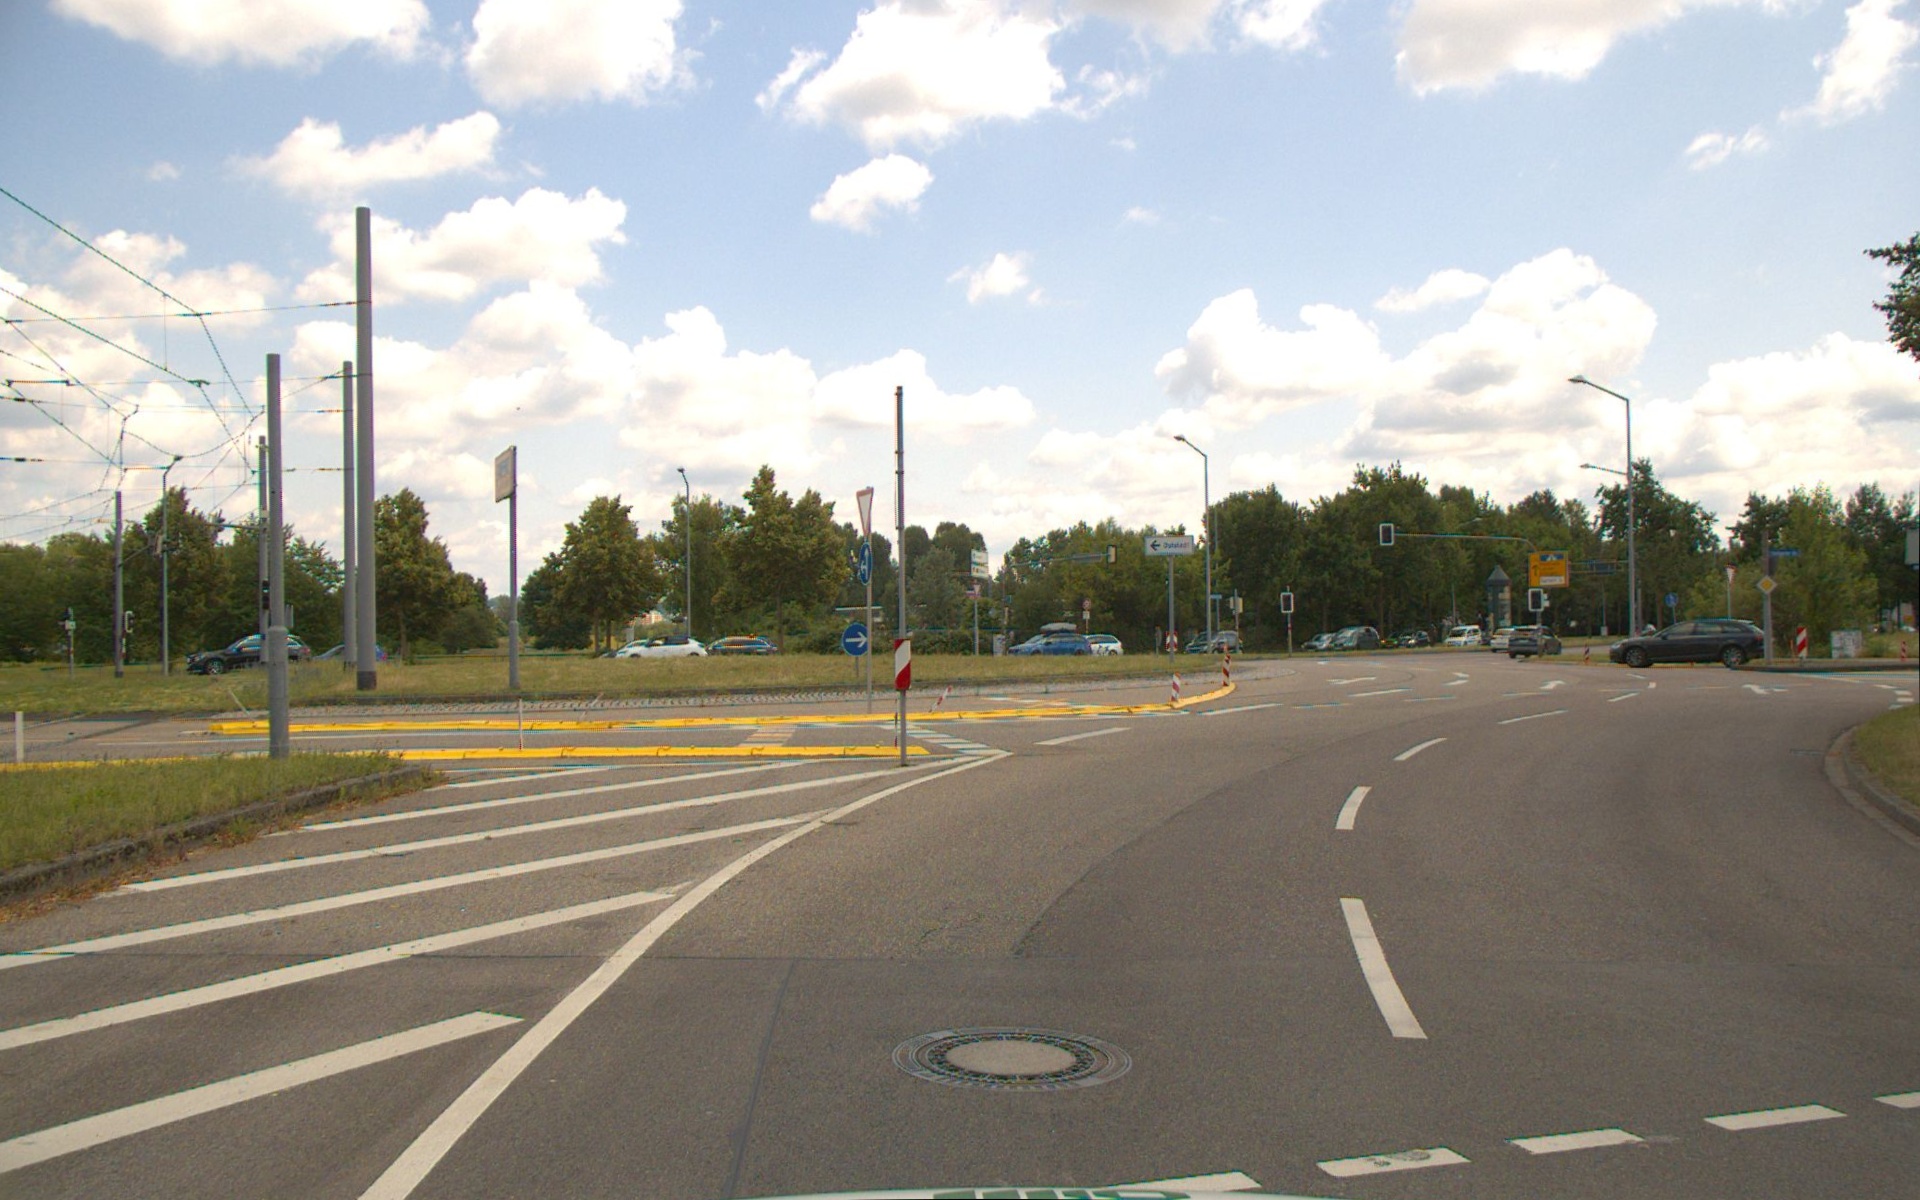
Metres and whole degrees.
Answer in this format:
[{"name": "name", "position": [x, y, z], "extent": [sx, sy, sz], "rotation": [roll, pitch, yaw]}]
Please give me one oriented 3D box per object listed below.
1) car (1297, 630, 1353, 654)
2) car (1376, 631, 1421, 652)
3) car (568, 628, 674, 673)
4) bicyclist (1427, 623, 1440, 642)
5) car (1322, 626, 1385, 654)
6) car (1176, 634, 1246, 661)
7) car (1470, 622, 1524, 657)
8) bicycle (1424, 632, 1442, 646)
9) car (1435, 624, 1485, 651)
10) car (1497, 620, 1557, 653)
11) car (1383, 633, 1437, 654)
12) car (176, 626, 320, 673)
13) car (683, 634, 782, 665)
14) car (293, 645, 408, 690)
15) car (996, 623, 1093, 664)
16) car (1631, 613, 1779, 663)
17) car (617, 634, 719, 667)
[{"name": "car", "position": [22.990, 2.620, 104.157], "extent": [1.874, 1.448, 4.174], "rotation": [-2, -2, 37]}, {"name": "car", "position": [32.003, 3.029, 120.716], "extent": [1.590, 1.372, 4.150], "rotation": [-5, -4, 39]}, {"name": "car", "position": [-16.440, 2.434, 80.241], "extent": [4.659, 2.049, 1.980], "rotation": [-1, -1, -30]}, {"name": "bicyclist", "position": [40.830, 2.791, 142.638], "extent": [0.817, 1.592, 0.879], "rotation": [0, -1, 38]}, {"name": "car", "position": [23.876, 2.403, 100.195], "extent": [1.878, 1.620, 4.567], "rotation": [-2, -2, 40]}, {"name": "car", "position": [14.128, 2.654, 93.083], "extent": [3.947, 1.364, 1.774], "rotation": [-1, -3, -43]}, {"name": "car", "position": [32.456, 2.350, 99.928], "extent": [1.960, 2.049, 3.985], "rotation": [-1, -1, 36]}, {"name": "bicycle", "position": [40.773, 3.359, 142.566], "extent": [0.748, 1.240, 2.007], "rotation": [0, 0, 38]}, {"name": "car", "position": [36.974, 2.750, 122.179], "extent": [1.809, 1.831, 4.764], "rotation": [-5, -3, 39]}, {"name": "car", "position": [29.678, 1.902, 86.517], "extent": [1.959, 1.654, 4.296], "rotation": [-1, -1, 34]}, {"name": "car", "position": [31.566, 3.029, 115.910], "extent": [1.810, 1.333, 4.761], "rotation": [-5, -4, 40]}, {"name": "car", "position": [-28.151, 1.944, 65.464], "extent": [5.010, 1.704, 1.976], "rotation": [0, -1, -34]}, {"name": "car", "position": [-10.700, 2.309, 77.762], "extent": [4.402, 1.346, 1.946], "rotation": [-1, -1, -15]}, {"name": "car", "position": [-28.001, 3.126, 75.992], "extent": [4.664, 1.821, 1.830], "rotation": [3, 2, -32]}, {"name": "car", "position": [4.047, 2.058, 78.854], "extent": [4.344, 1.830, 1.739], "rotation": [-1, -1, -29]}, {"name": "car", "position": [22.821, 1.152, 50.683], "extent": [3.917, 1.489, 1.684], "rotation": [0, -1, 34]}, {"name": "car", "position": [-12.756, 2.186, 72.151], "extent": [4.226, 1.353, 1.992], "rotation": [-1, -1, -15]}]
